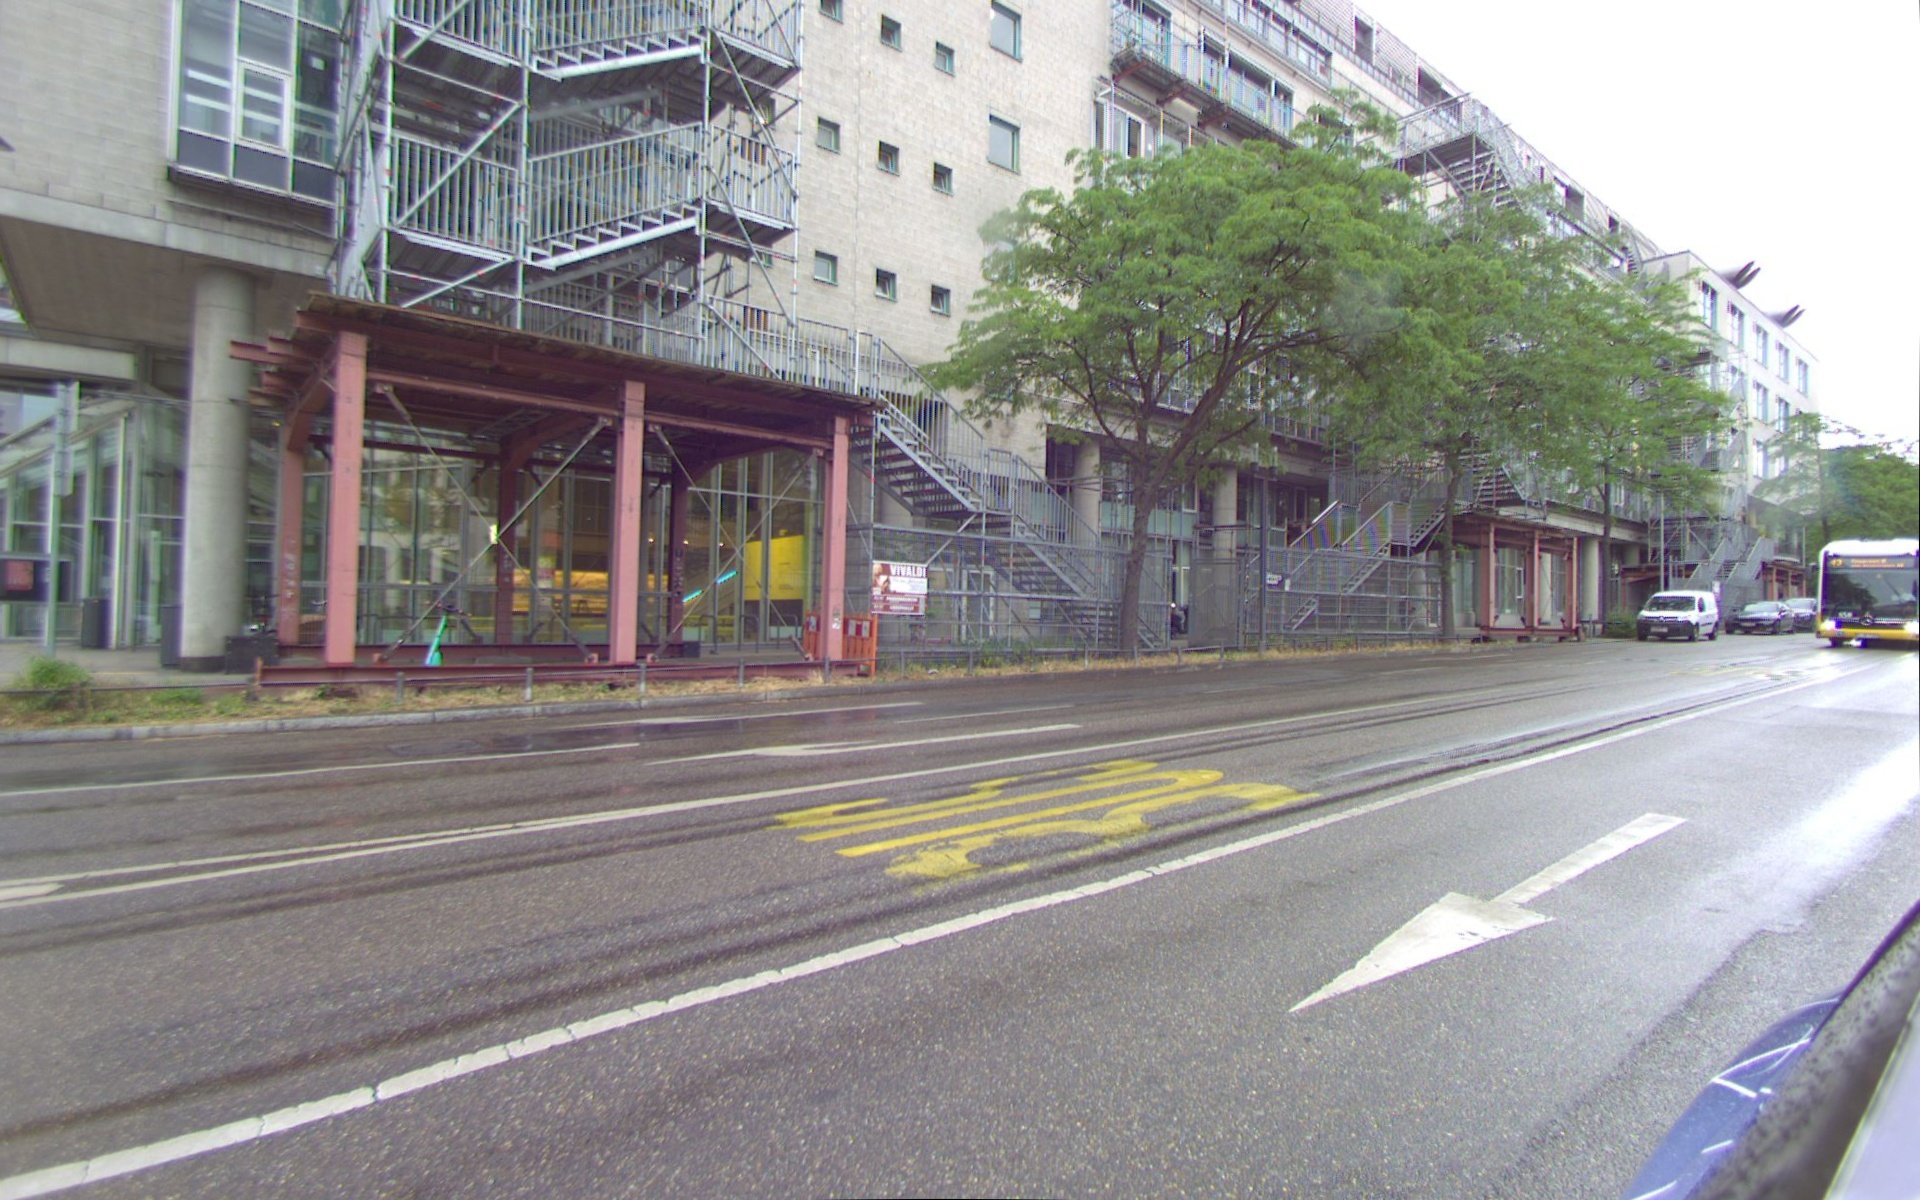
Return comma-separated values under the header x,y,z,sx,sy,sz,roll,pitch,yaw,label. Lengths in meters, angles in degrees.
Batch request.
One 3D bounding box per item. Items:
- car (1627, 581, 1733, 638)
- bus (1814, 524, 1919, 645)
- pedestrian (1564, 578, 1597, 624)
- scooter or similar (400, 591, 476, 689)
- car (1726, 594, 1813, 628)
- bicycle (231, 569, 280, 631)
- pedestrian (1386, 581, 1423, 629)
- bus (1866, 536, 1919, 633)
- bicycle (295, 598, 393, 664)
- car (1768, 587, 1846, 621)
x,y,z,sx,sy,sz,roll,pitch,yaw,label
26.065,0.298,36.589,4.254,1.930,2.211,-1,0,-41,car
30.914,-0.507,33.265,9.586,3.494,2.888,-1,0,-41,bus
27.861,0.042,45.458,1.021,2.039,1.009,0,0,-41,pedestrian
-6.940,0.487,13.413,0.576,1.209,1.782,1,0,-38,scooter or similar
35.090,0.425,43.817,4.733,1.353,2.145,-1,1,-41,car
-14.448,-0.003,20.733,0.577,1.209,1.611,0,0,-44,bicycle
17.168,0.169,39.095,0.830,1.822,1.010,0,0,-36,pedestrian
38.134,-0.602,39.534,9.541,3.483,2.888,-1,0,-41,bus
-11.988,0.573,19.737,0.580,1.209,1.602,0,0,24,bicycle
40.245,0.173,48.068,4.733,1.513,2.145,-1,1,-41,car
